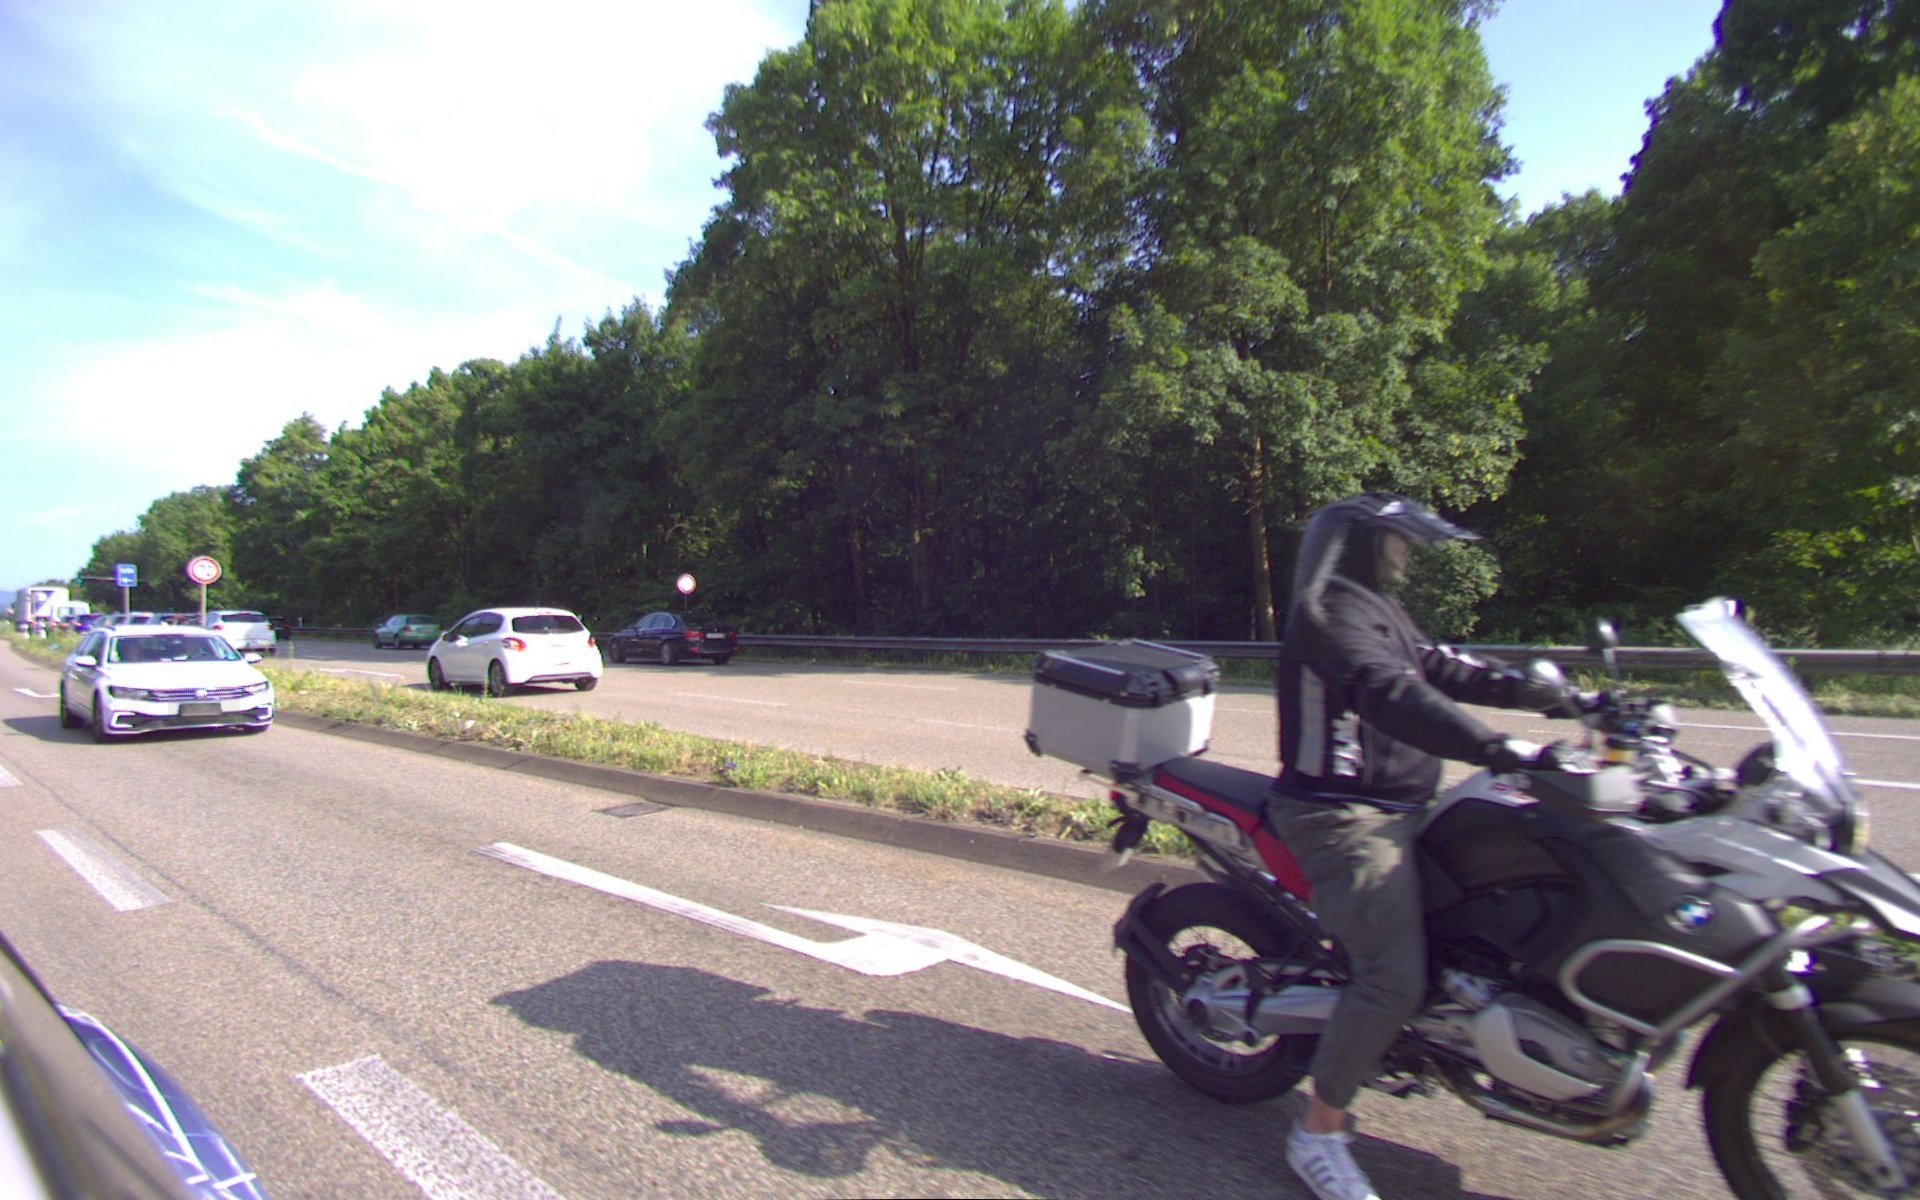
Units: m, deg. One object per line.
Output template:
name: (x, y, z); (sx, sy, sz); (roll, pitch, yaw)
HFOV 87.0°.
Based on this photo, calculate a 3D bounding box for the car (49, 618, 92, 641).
car: (-57.714, 1.921, 65.620); (5.187, 1.467, 1.740); (-2, -2, 44)

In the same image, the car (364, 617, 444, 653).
car: (-22.964, 1.425, 41.727); (4.376, 1.389, 1.719); (-2, -2, 44)

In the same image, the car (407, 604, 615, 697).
car: (-8.013, 0.842, 17.891); (4.225, 1.422, 1.769); (-2, -1, 42)

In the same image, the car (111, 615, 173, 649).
car: (-36.755, 1.441, 45.425); (4.213, 1.434, 1.687); (-2, -2, 44)

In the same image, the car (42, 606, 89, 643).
car: (-63.444, 1.762, 71.774); (6.166, 2.553, 2.051); (-2, -2, 44)

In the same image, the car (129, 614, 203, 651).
car: (-32.629, 1.309, 41.542); (5.195, 1.434, 1.747); (-2, -2, 44)

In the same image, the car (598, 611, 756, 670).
car: (-7.631, 1.046, 27.043); (4.752, 1.417, 1.769); (-2, -1, 42)

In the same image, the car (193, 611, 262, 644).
car: (-40.906, 1.533, 56.434); (6.227, 1.721, 2.079); (-2, -2, 44)

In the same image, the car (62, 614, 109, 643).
car: (-52.738, 1.709, 60.985); (4.802, 1.682, 1.751); (-2, -2, 44)

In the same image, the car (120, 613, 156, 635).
car: (-77.269, 2.257, 95.081); (5.104, 1.950, 1.989); (-2, -4, 44)

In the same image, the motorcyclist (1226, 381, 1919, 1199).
motorcyclist: (1.457, 0.459, 2.390); (0.873, 1.628, 1.291); (-3, 0, -44)

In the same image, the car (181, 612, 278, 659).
car: (-24.034, 1.155, 33.232); (4.417, 1.428, 1.846); (-2, -2, 44)

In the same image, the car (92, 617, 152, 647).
car: (-41.731, 1.598, 50.351); (5.194, 1.434, 1.751); (-2, -2, 44)

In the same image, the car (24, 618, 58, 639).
car: (-74.383, 2.287, 81.905); (4.371, 1.644, 1.681); (-2, -2, 43)

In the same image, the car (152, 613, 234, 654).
car: (-28.185, 1.226, 37.141); (4.435, 1.428, 1.747); (-2, -2, 44)

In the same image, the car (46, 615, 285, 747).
car: (-11.246, 1.041, 14.187); (4.833, 1.533, 1.849); (-2, -4, 43)

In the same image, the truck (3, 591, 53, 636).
truck: (-87.258, 1.279, 94.735); (6.721, 4.027, 2.860); (-2, 1, 43)

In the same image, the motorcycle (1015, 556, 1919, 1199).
motorcycle: (1.422, 0.698, 2.437); (0.898, 1.464, 2.691); (3, -4, -43)

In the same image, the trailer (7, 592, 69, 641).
trailer: (-81.839, 1.525, 89.705); (14.015, 4.026, 2.959); (-2, 1, 43)
